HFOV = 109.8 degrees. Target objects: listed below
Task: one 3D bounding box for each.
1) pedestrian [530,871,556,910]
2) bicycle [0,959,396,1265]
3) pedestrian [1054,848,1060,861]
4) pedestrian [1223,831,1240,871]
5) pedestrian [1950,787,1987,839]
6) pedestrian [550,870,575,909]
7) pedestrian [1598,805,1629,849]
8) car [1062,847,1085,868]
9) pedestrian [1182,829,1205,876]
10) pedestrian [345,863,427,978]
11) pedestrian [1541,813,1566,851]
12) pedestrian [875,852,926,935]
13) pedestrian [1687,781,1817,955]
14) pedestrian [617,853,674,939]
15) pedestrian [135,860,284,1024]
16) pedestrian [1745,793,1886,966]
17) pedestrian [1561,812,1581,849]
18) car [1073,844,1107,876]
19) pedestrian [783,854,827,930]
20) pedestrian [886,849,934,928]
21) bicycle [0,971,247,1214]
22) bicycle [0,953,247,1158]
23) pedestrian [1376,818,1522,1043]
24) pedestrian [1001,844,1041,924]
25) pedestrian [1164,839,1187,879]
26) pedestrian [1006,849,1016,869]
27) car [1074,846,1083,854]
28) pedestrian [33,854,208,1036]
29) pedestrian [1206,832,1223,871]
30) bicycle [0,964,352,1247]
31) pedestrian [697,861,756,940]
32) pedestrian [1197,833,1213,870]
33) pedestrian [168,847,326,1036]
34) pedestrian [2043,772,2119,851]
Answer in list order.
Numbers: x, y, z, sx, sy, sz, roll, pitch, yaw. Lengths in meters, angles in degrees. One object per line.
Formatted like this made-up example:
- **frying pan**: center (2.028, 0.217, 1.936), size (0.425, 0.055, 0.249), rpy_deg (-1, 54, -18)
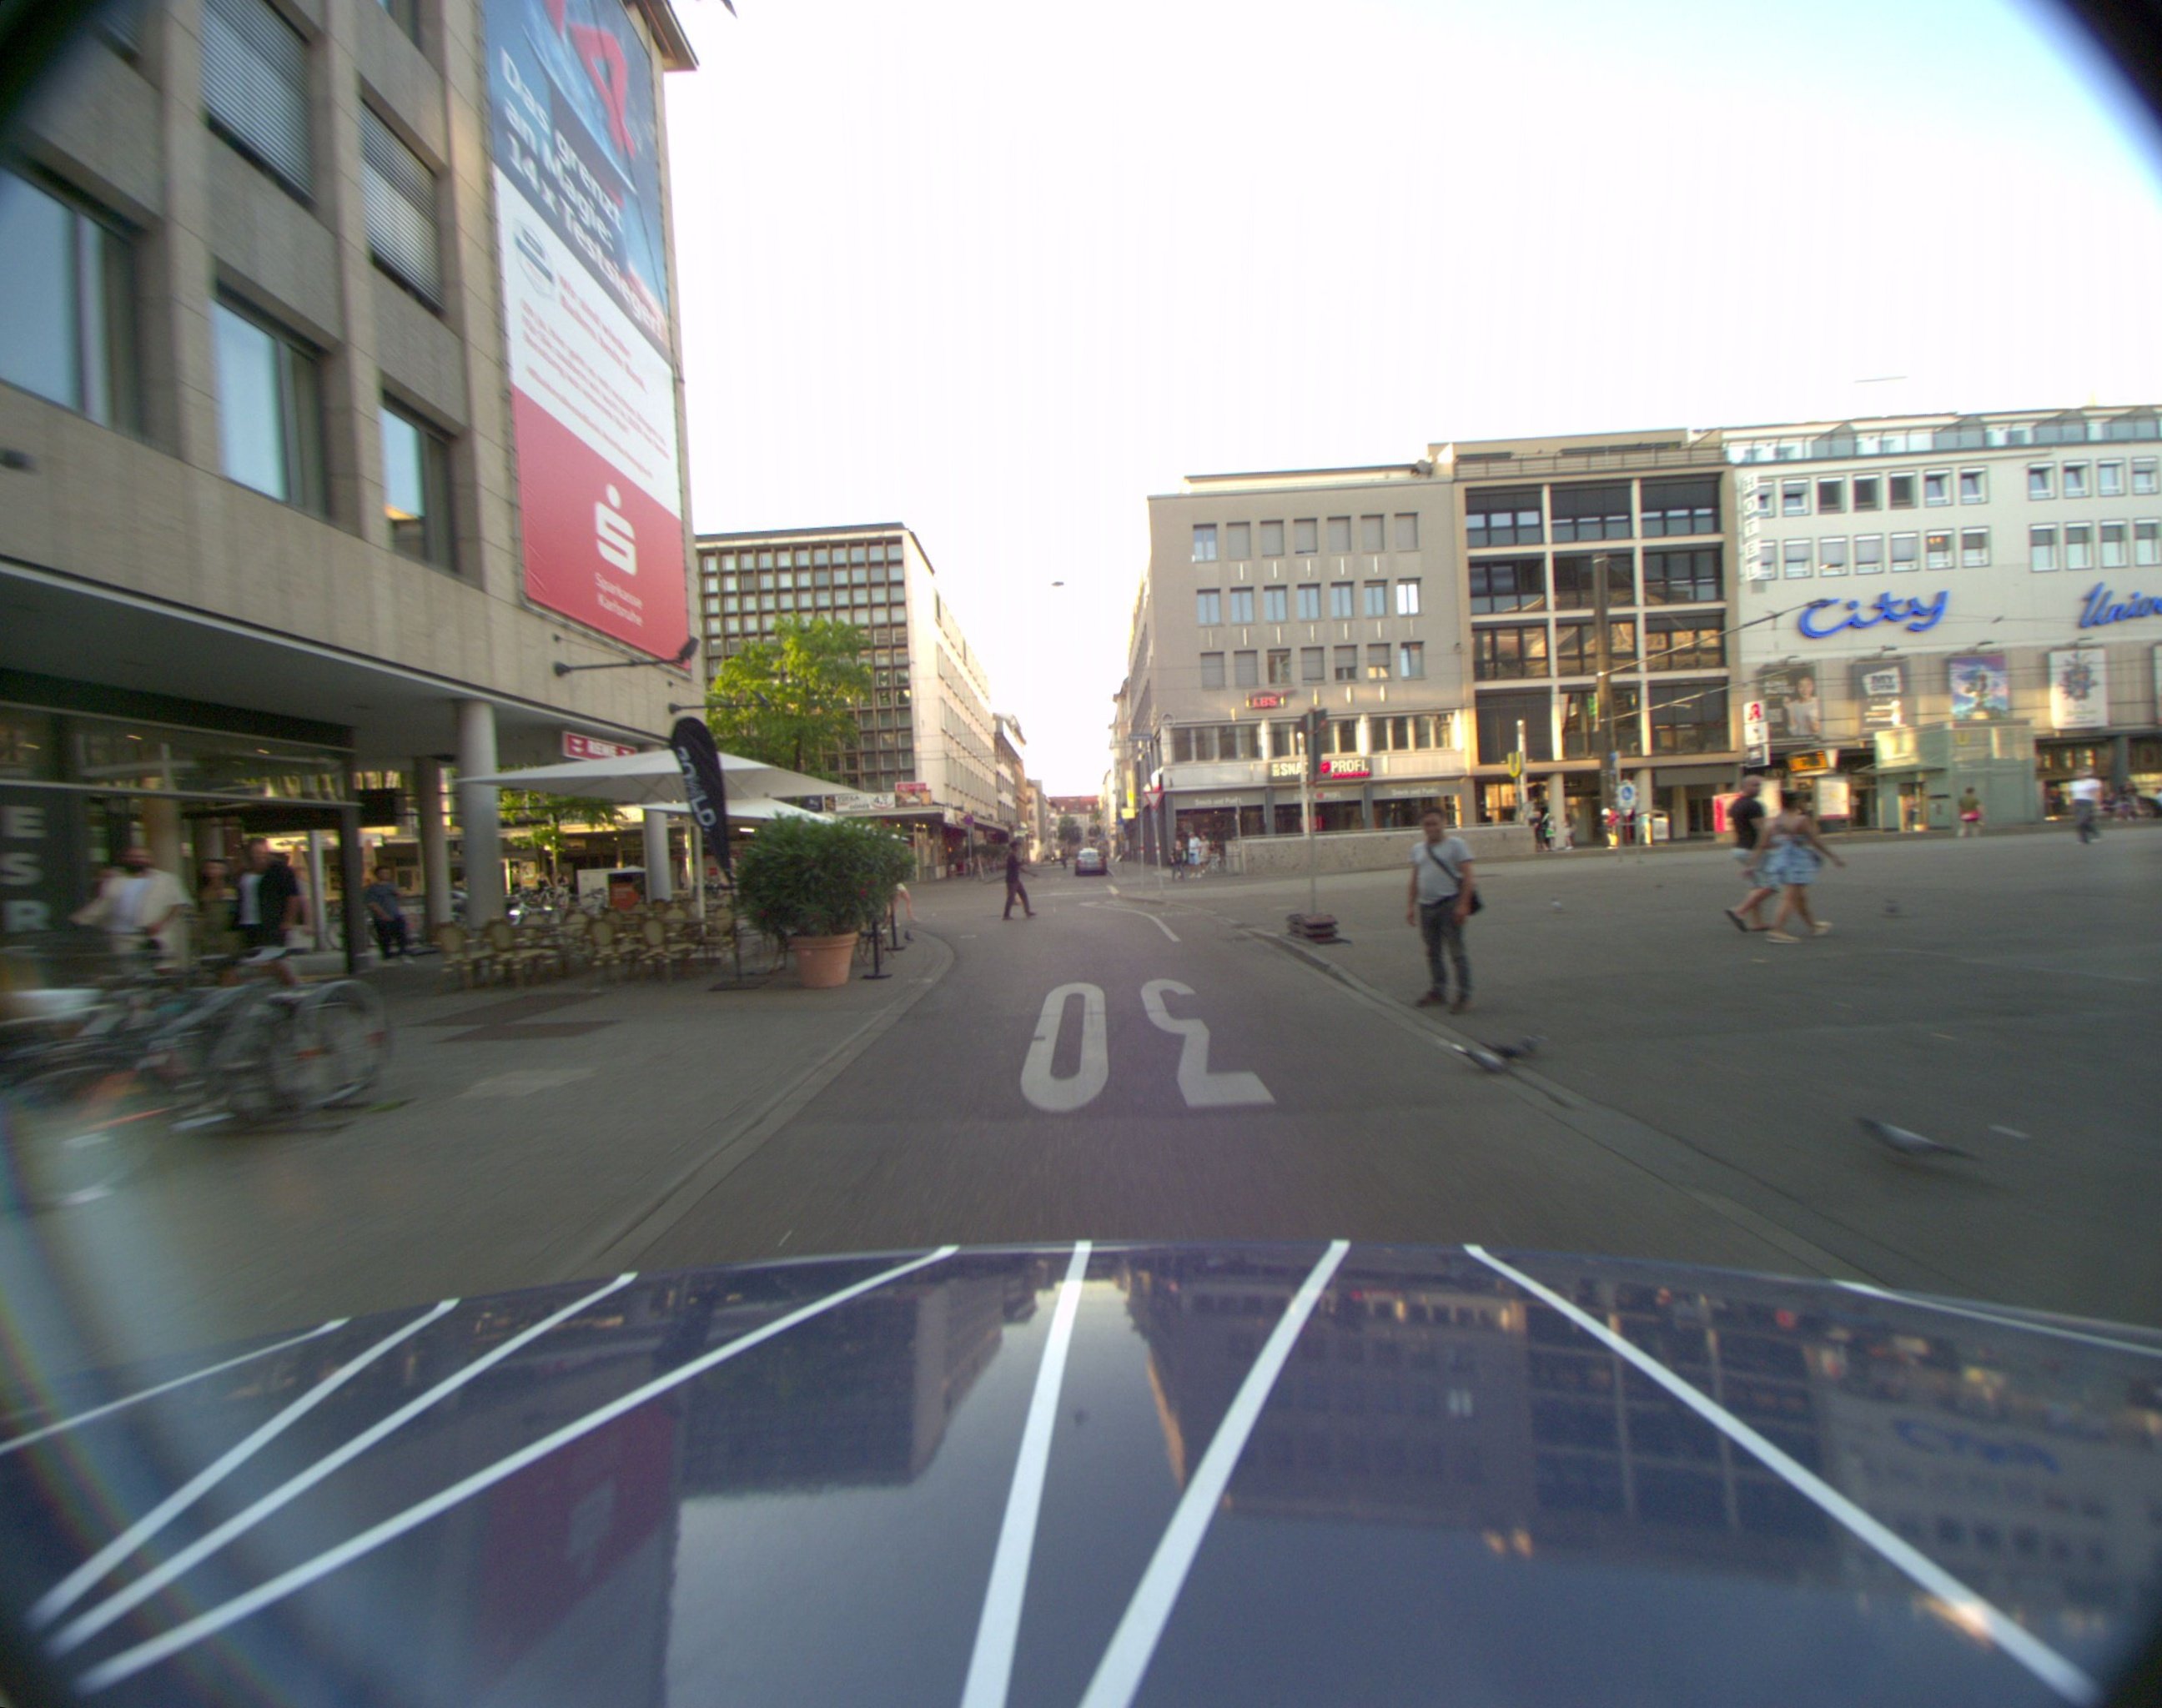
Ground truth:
- **pedestrian**: center (-23.153, 1.560, 32.727), size (0.648, 1.652, 0.651), rpy_deg (1, 2, 20)
- **bicycle**: center (-4.550, 1.181, 3.778), size (0.330, 1.027, 1.865), rpy_deg (-2, 1, 9)
- **pedestrian**: center (-2.979, 0.044, 95.511), size (0.649, 1.652, 0.650), rpy_deg (-2, 1, 1)
- **pedestrian**: center (6.699, -0.135, 33.849), size (0.545, 1.698, 0.558), rpy_deg (-4, 1, 1)
- **pedestrian**: center (29.789, -1.376, 25.506), size (0.660, 1.671, 0.573), rpy_deg (-4, 1, -17)
- **pedestrian**: center (-22.436, 1.529, 32.888), size (0.648, 1.652, 0.651), rpy_deg (1, 2, 21)
- **pedestrian**: center (21.726, -1.098, 31.015), size (0.709, 1.698, 0.681), rpy_deg (-4, 1, 6)
- **car**: center (-0.606, 0.291, 65.216), size (1.798, 1.705, 4.000), rpy_deg (-2, 1, 2)
- **pedestrian**: center (4.652, -0.079, 31.354), size (0.783, 1.882, 0.641), rpy_deg (-3, 2, 0)
- **pedestrian**: center (-11.207, 1.036, 12.265), size (0.685, 1.751, 0.801), rpy_deg (-1, 1, 38)
- **pedestrian**: center (21.293, -0.982, 34.237), size (0.671, 1.644, 0.623), rpy_deg (-5, 2, -31)
- **pedestrian**: center (-3.794, 0.812, 15.999), size (0.795, 1.679, 0.769), rpy_deg (-2, 1, 3)
- **pedestrian**: center (7.287, 0.130, 8.265), size (0.863, 1.751, 0.743), rpy_deg (-5, 2, -28)
- **pedestrian**: center (-8.894, 0.835, 15.555), size (0.797, 1.679, 0.768), rpy_deg (-3, 1, -19)
- **pedestrian**: center (-9.915, 0.969, 8.676), size (0.799, 1.751, 0.687), rpy_deg (-2, 1, -3)
- **pedestrian**: center (7.378, 0.232, 7.638), size (0.866, 1.582, 0.737), rpy_deg (-5, 2, -28)
- **pedestrian**: center (21.652, -1.036, 33.573), size (0.572, 1.578, 0.492), rpy_deg (-5, 2, -31)
- **car**: center (0.517, 0.319, 44.169), size (1.824, 1.729, 3.999), rpy_deg (-2, 1, 0)
- **pedestrian**: center (-6.442, 0.867, 17.706), size (0.797, 1.679, 0.767), rpy_deg (-3, 1, -28)
- **pedestrian**: center (-3.762, 0.747, 16.775), size (0.795, 1.679, 0.769), rpy_deg (-2, 1, 3)
- **bicycle**: center (-5.512, 1.262, 3.837), size (0.383, 1.027, 1.864), rpy_deg (-2, 1, 5)
- **bicycle**: center (-6.568, 1.279, 4.832), size (0.383, 1.027, 1.864), rpy_deg (-2, 1, 1)
- **pedestrian**: center (2.952, 0.559, 6.102), size (0.754, 1.650, 0.742), rpy_deg (-3, 1, -35)
- **pedestrian**: center (-1.294, 0.643, 16.514), size (0.732, 1.679, 0.746), rpy_deg (-2, 1, 3)
- **pedestrian**: center (3.695, 0.196, 29.704), size (0.674, 1.532, 0.642), rpy_deg (-2, 2, 21)
- **pedestrian**: center (-5.977, 0.390, 64.707), size (0.649, 1.652, 0.650), rpy_deg (-4, 2, 0)
- **car**: center (-0.480, -0.901, 165.982), size (1.799, 1.501, 3.999), rpy_deg (-2, 1, 0)
- **pedestrian**: center (-9.827, 0.890, 7.807), size (0.799, 1.751, 0.687), rpy_deg (-2, 1, -3)
- **pedestrian**: center (5.921, -0.104, 33.638), size (0.545, 1.698, 0.558), rpy_deg (-4, 1, 1)
- **bicycle**: center (-4.896, 1.216, 3.831), size (0.383, 1.027, 1.865), rpy_deg (-2, 1, 9)
- **pedestrian**: center (-7.351, 0.943, 15.789), size (0.796, 1.557, 0.769), rpy_deg (-2, 1, 0)
- **pedestrian**: center (5.723, -0.114, 35.181), size (0.545, 1.698, 0.558), rpy_deg (-4, 1, 1)
- **pedestrian**: center (-8.878, 0.893, 8.125), size (0.799, 1.908, 0.687), rpy_deg (-2, 1, -4)
- **pedestrian**: center (22.941, -0.963, 17.448), size (0.686, 1.751, 0.800), rpy_deg (-2, 1, 11)
